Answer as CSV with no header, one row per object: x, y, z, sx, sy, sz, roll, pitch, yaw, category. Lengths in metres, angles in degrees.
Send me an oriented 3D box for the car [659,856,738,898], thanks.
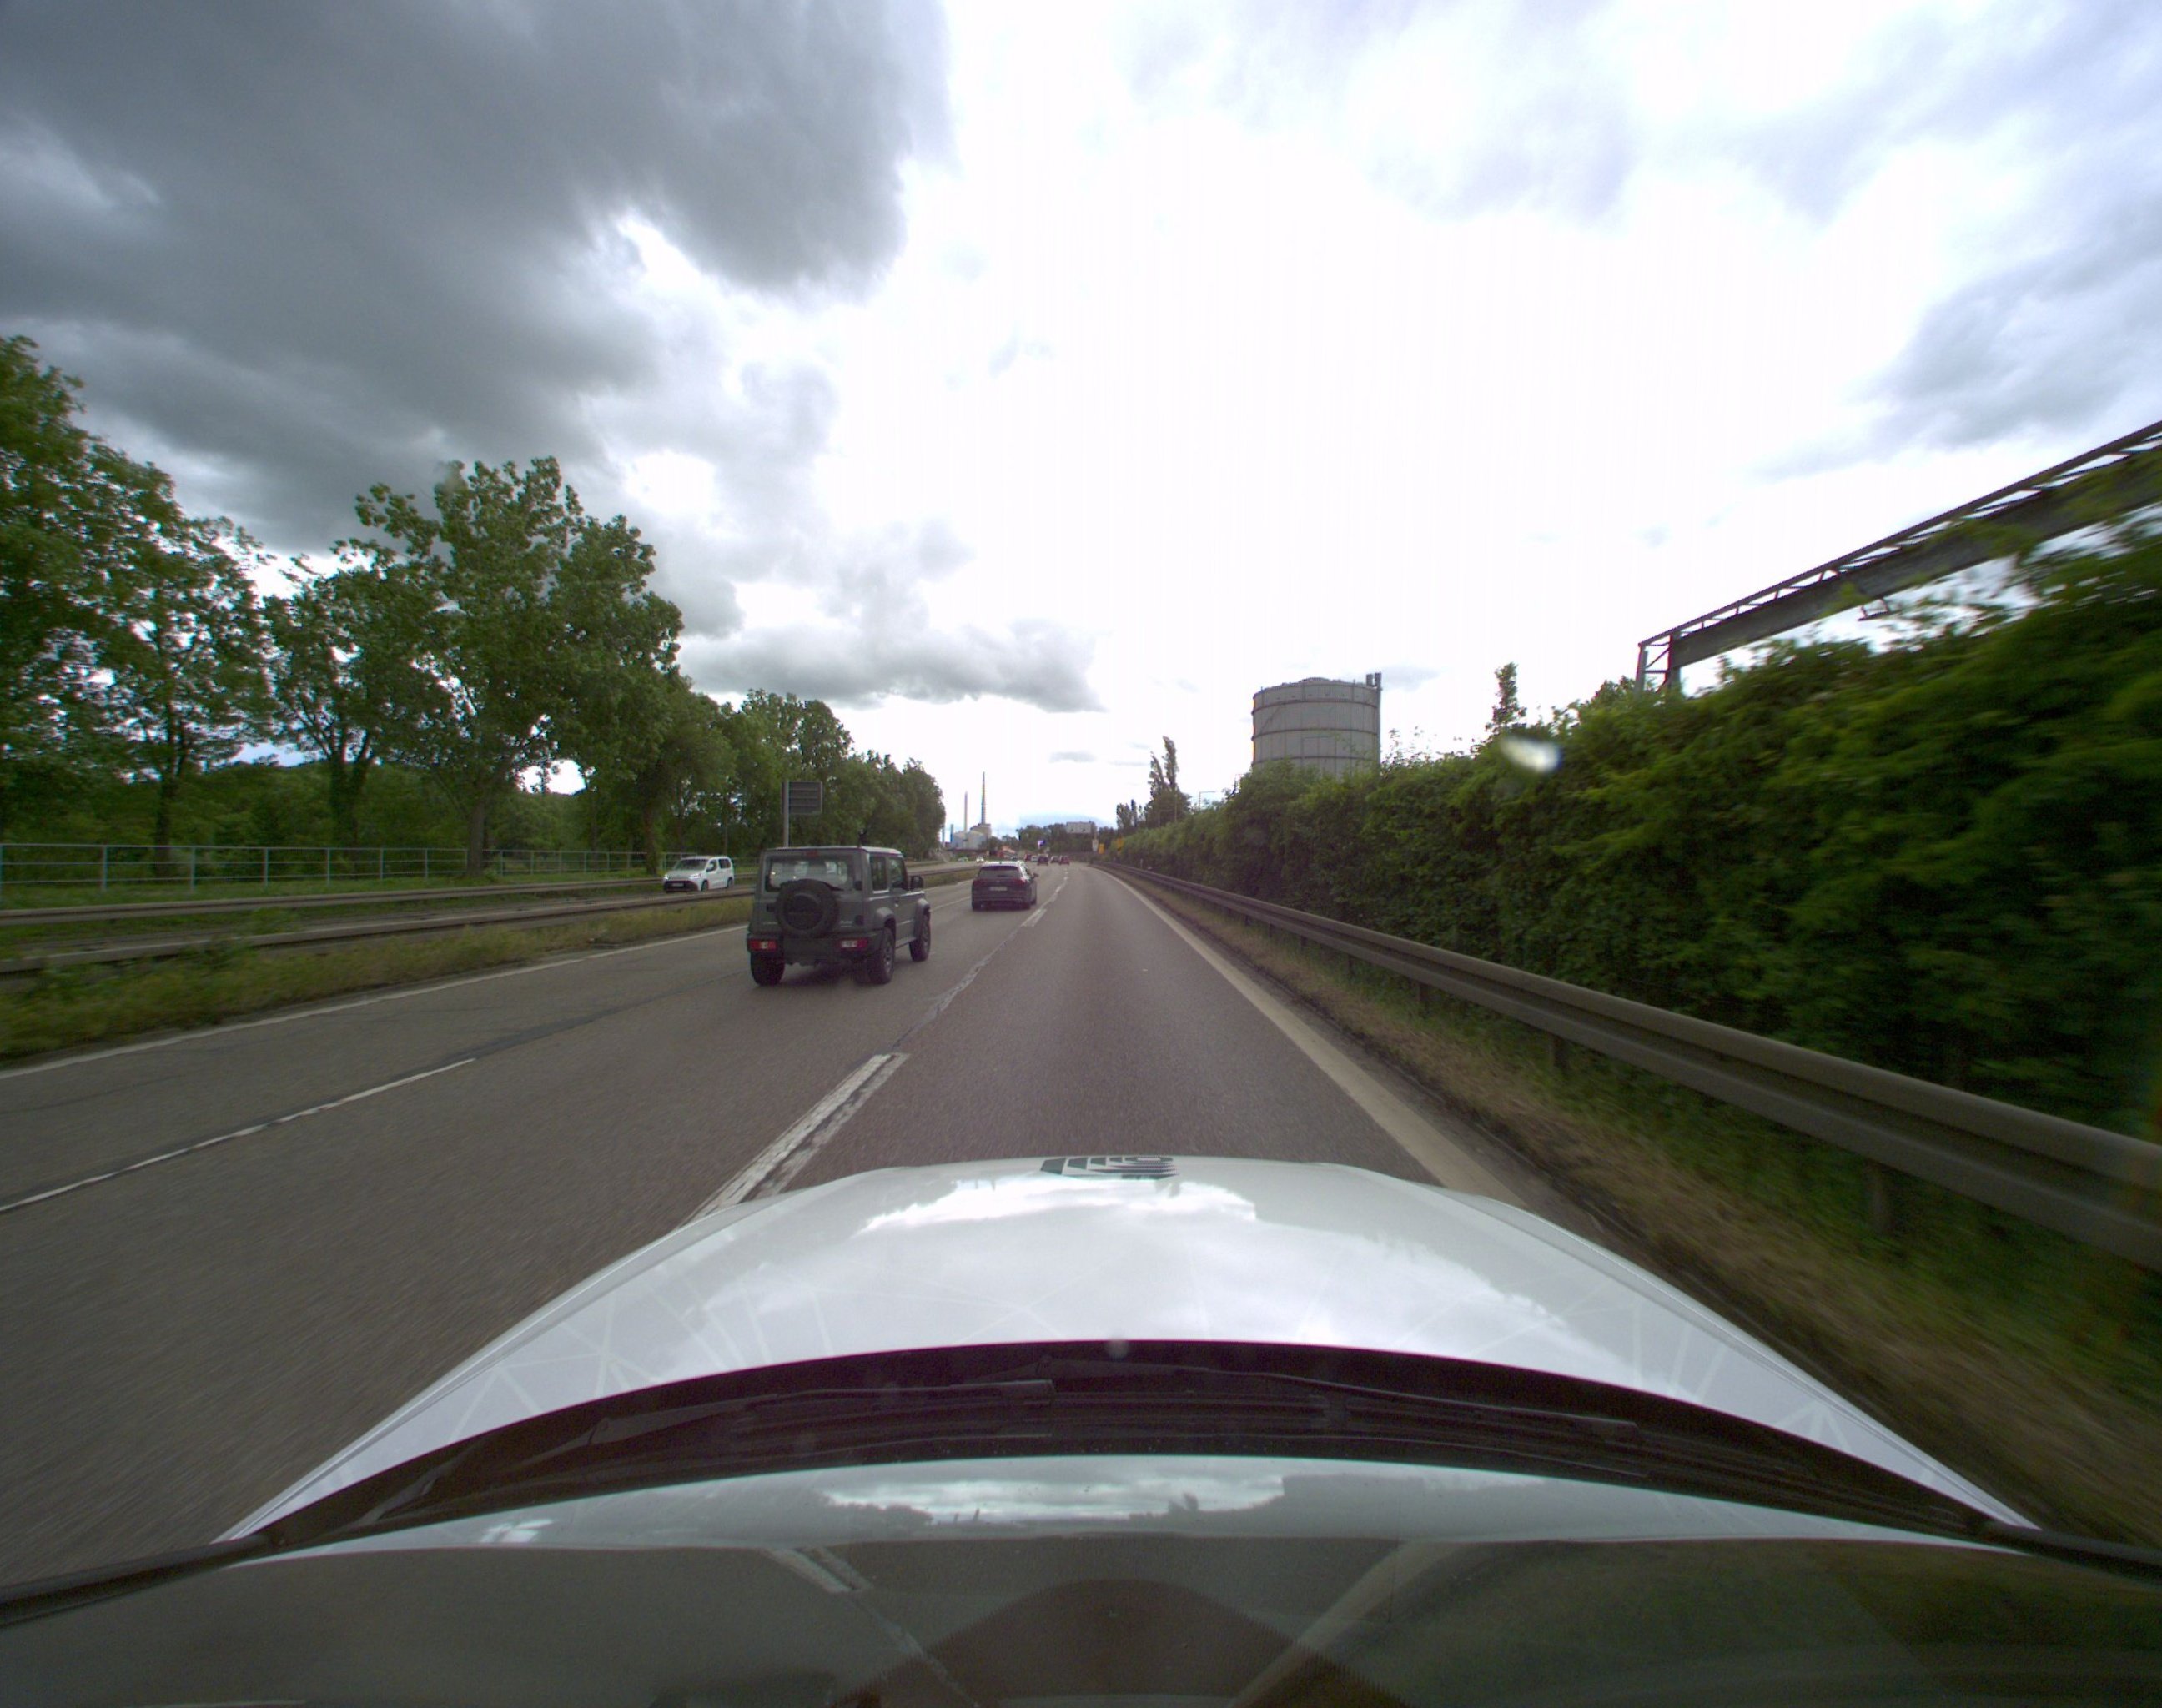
-18.380,1.064,39.347,1.605,1.884,4.561,0,0,0,car

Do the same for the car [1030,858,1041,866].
-10.936,1.961,196.361,2.013,1.934,4.884,-1,0,-10,car

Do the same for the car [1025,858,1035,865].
-13.435,1.974,215.760,2.014,1.934,4.881,-1,0,-11,car

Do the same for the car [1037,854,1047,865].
-6.501,0.879,136.116,1.694,1.742,3.995,-1,0,-3,car

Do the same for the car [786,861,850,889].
-14.907,1.161,46.505,1.855,1.465,5.550,0,0,0,car

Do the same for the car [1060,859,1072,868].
-2.616,1.595,140.448,1.970,1.423,4.894,-1,0,-3,car

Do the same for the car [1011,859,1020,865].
-17.940,2.218,222.123,1.700,1.742,4.372,-1,0,-14,car

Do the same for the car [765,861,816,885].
-18.877,1.221,53.132,1.712,1.465,4.380,0,0,0,car

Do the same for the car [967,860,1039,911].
-2.346,0.924,25.627,1.840,1.423,4.898,1,0,-1,car

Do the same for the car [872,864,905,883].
-15.063,1.480,63.899,1.655,1.424,3.911,0,0,0,car

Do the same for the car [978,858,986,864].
-24.311,1.652,199.497,1.611,1.386,3.728,0,0,-3,car

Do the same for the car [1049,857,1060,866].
-5.461,1.491,167.925,1.696,1.742,4.382,-1,0,-7,car

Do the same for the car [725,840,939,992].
-3.152,0.701,11.177,1.692,1.686,3.999,-1,0,0,car
